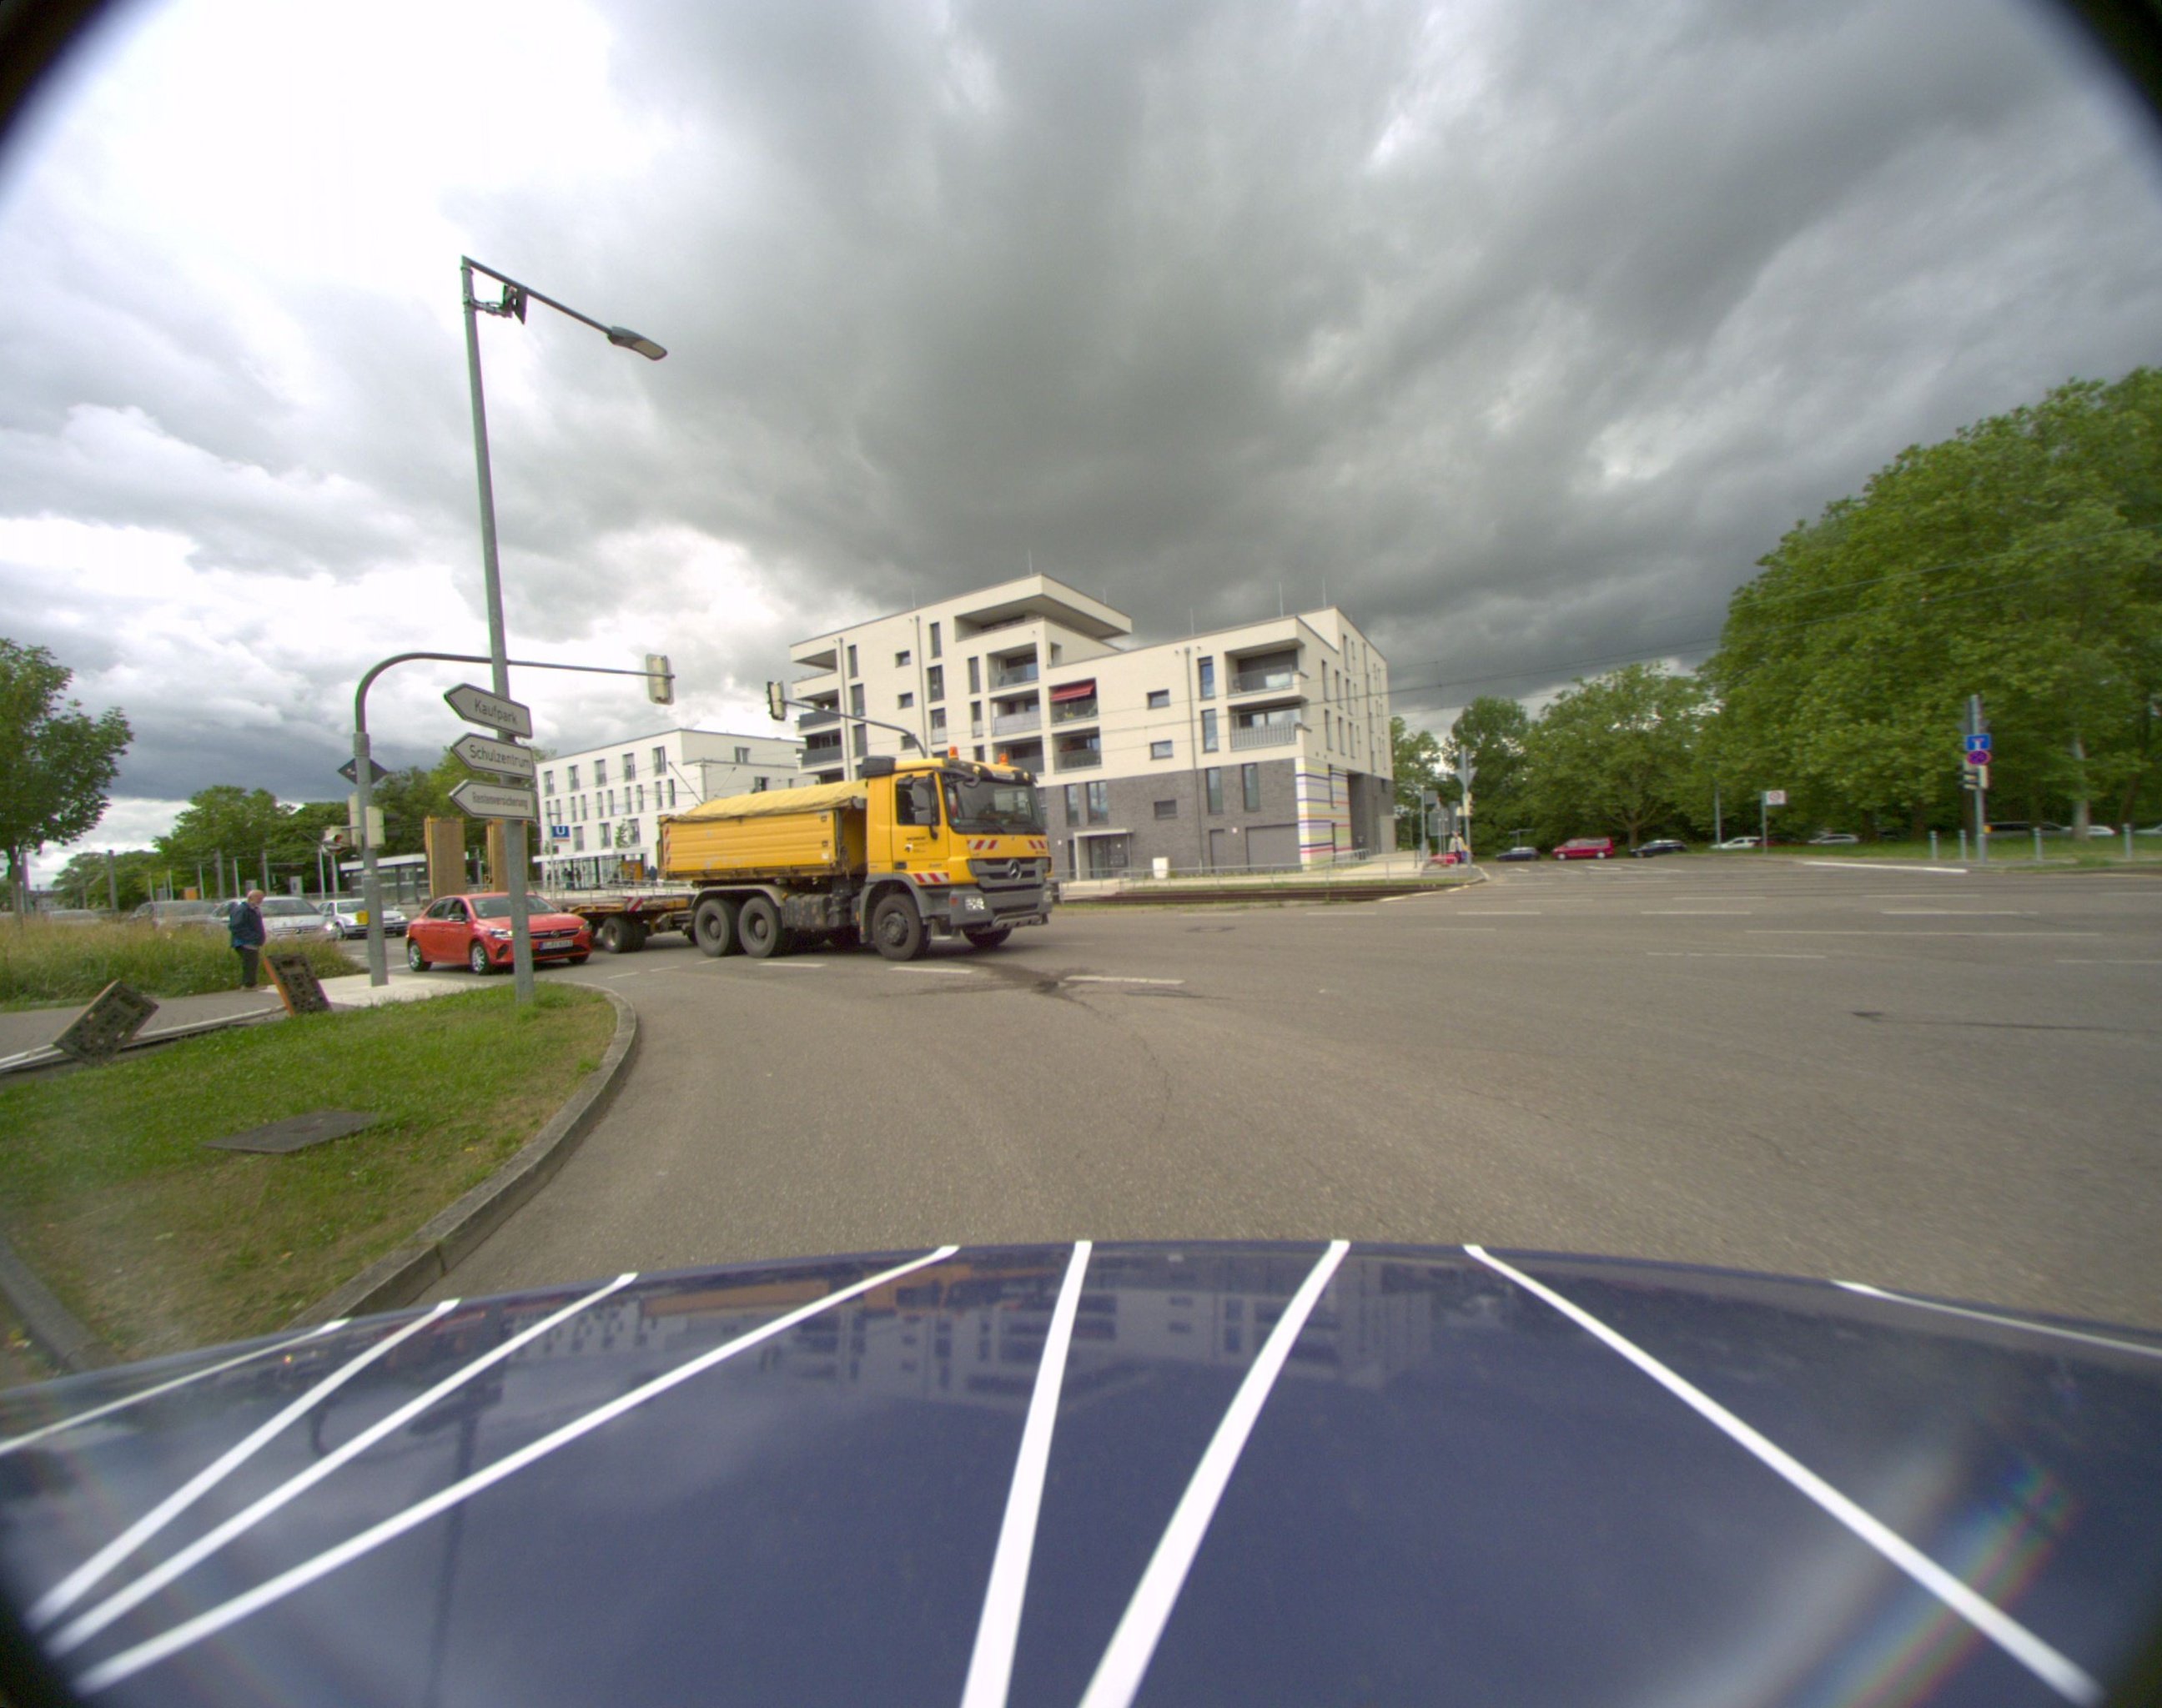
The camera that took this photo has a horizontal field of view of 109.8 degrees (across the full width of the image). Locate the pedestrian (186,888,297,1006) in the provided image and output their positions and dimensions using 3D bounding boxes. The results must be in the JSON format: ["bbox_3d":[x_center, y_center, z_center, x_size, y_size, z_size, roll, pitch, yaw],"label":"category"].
[{"bbox_3d":[-13.431,1.444,12.192,0.957,1.730,0.726,-4,1,-34],"label":"pedestrian"}]

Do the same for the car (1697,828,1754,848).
[{"bbox_3d":[54.399,-1.353,64.202,3.587,1.528,1.877,-3,0,38],"label":"car"}]

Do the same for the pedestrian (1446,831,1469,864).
[{"bbox_3d":[19.336,-0.335,39.032,0.990,1.660,0.857,-2,1,25],"label":"pedestrian"}]

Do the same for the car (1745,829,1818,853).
[{"bbox_3d":[52.735,-0.984,57.312,3.775,1.652,1.668,-2,1,31],"label":"car"}]

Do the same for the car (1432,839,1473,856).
[{"bbox_3d":[37.117,-0.657,75.920,3.534,1.490,1.650,-3,0,32],"label":"car"}]

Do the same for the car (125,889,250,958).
[{"bbox_3d":[-29.866,2.276,25.394,3.990,2.002,2.003,-3,1,31],"label":"car"}]

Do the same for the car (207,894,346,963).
[{"bbox_3d":[-21.588,1.962,20.382,3.437,1.565,1.742,-3,0,30],"label":"car"}]

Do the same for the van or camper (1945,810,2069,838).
[{"bbox_3d":[63.061,-2.038,51.877,4.994,1.524,1.868,-3,0,32],"label":"van or camper"}]

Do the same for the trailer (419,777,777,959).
[{"bbox_3d":[-12.193,0.453,18.556,10.886,3.501,2.720,-3,1,32],"label":"trailer"}]

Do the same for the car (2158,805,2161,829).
[{"bbox_3d":[80.032,-2.704,54.100,1.667,1.720,3.776,-3,1,-37],"label":"car"}]

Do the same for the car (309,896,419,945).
[{"bbox_3d":[-24.952,2.256,26.418,3.989,1.471,1.697,-2,1,31],"label":"car"}]

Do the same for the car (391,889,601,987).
[{"bbox_3d":[-10.972,1.472,14.196,3.989,1.471,1.697,-2,1,31],"label":"car"}]

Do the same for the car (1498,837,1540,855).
[{"bbox_3d":[41.874,-0.738,72.640,3.261,1.493,1.607,-3,0,38],"label":"car"}]

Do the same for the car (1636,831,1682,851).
[{"bbox_3d":[50.430,-1.130,66.320,3.131,1.493,1.607,-3,0,38],"label":"car"}]

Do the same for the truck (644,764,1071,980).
[{"bbox_3d":[-4.267,0.325,13.700,7.758,2.986,2.733,-2,1,31],"label":"truck"}]

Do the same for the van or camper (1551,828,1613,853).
[{"bbox_3d":[45.998,-1.267,69.774,4.548,2.013,2.051,-3,0,38],"label":"van or camper"}]

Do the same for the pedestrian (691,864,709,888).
[{"bbox_3d":[-23.656,1.361,47.190,0.669,1.401,0.717,-3,0,30],"label":"pedestrian"}]

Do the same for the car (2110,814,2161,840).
[{"bbox_3d":[73.574,-1.877,51.710,3.800,1.639,1.703,-4,1,28],"label":"car"}]

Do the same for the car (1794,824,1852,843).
[{"bbox_3d":[59.279,-1.654,60.781,3.131,1.336,1.450,-3,0,38],"label":"car"}]
